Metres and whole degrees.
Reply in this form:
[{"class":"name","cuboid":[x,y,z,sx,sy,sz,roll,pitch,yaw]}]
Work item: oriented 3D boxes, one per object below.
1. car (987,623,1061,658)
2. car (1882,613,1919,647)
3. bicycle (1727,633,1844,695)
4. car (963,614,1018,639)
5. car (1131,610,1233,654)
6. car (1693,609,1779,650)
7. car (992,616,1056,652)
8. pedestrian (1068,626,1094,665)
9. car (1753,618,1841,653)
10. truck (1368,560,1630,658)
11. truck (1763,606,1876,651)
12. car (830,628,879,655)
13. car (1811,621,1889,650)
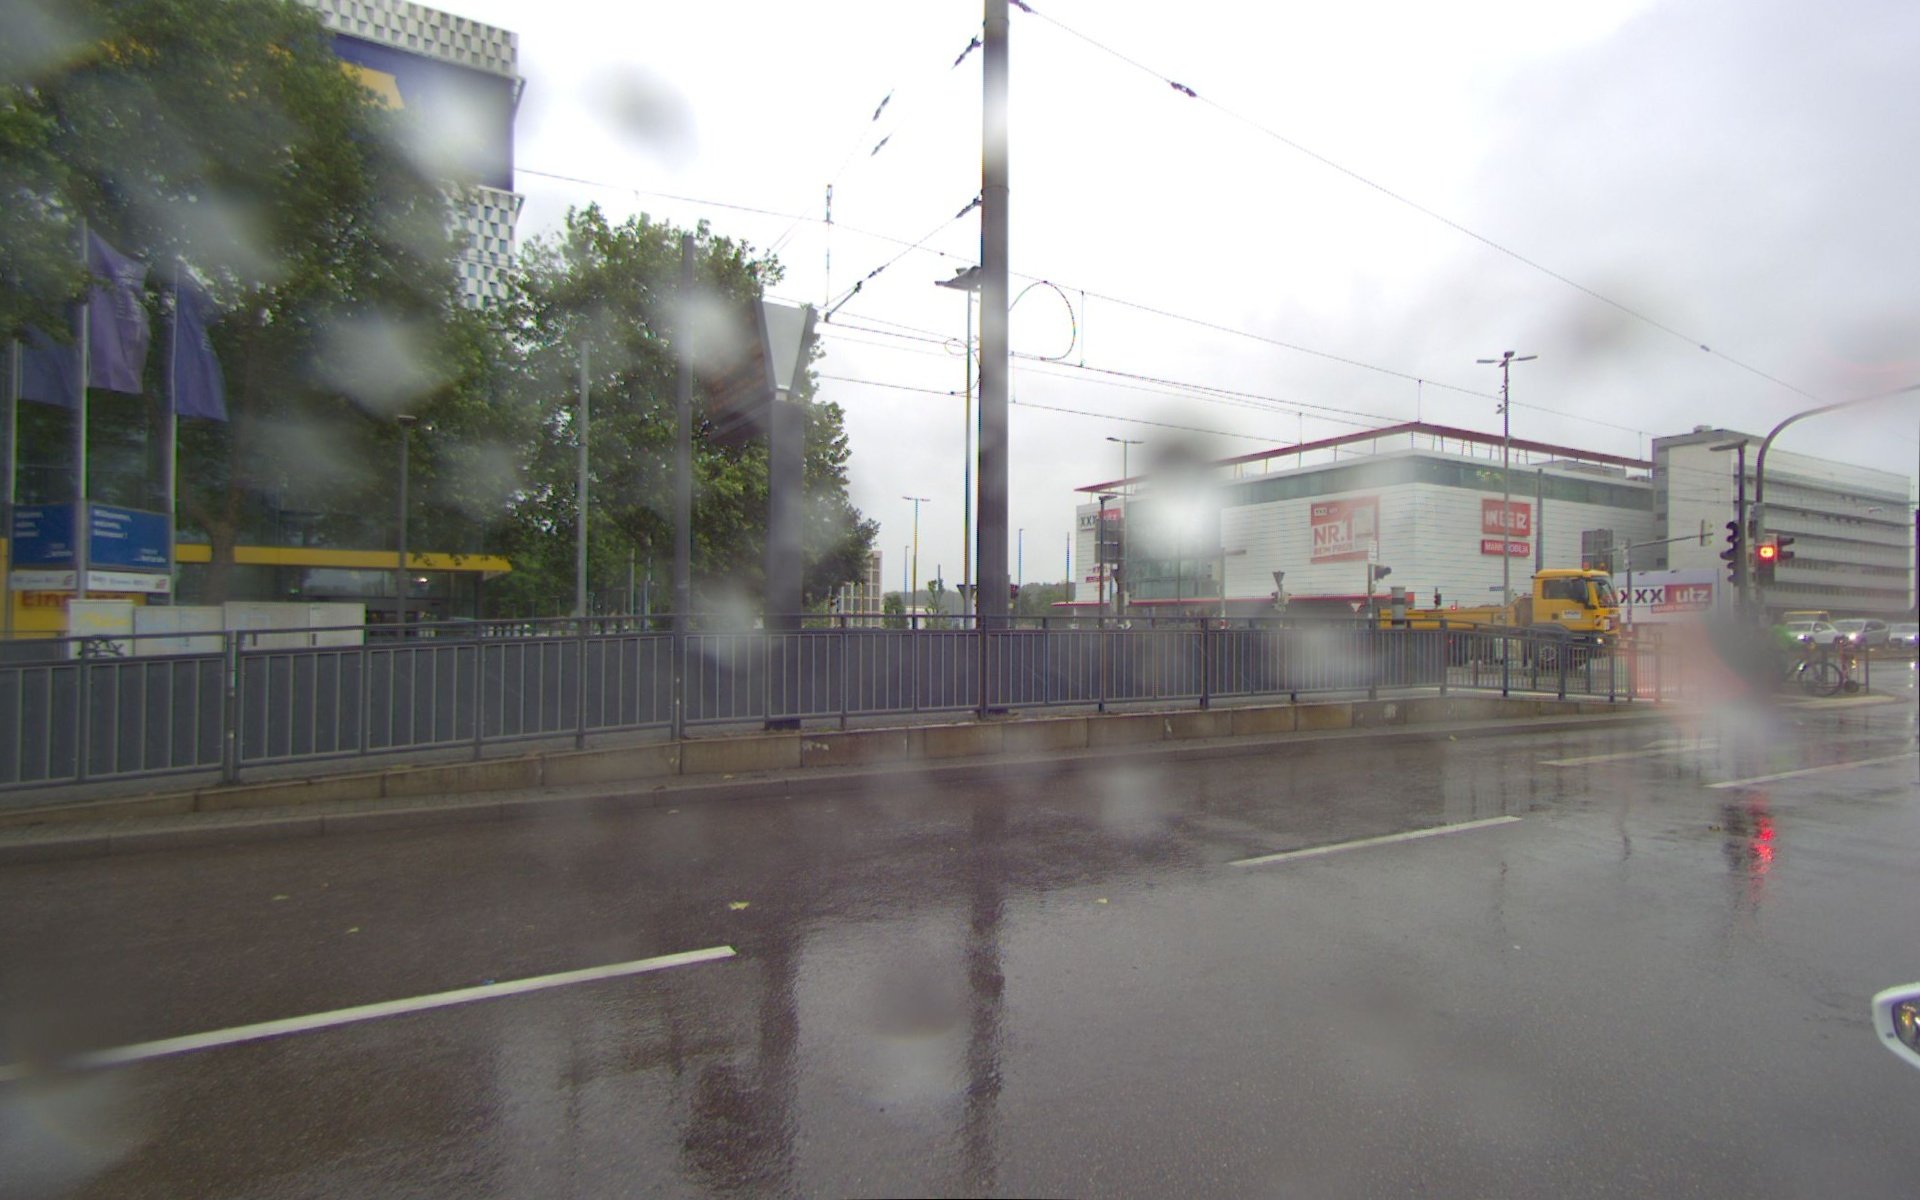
[{"class":"car","cuboid":[3.420,2.170,54.273,1.980,1.711,3.960,2,0,-35]},{"class":"car","cuboid":[51.376,1.644,53.603,3.947,1.722,1.886,2,0,-26]},{"class":"bicycle","cuboid":[16.750,1.283,20.423,0.409,1.048,1.742,2,3,-31]},{"class":"car","cuboid":[2.166,1.837,70.203,3.723,1.645,2.001,2,0,2]},{"class":"car","cuboid":[9.378,1.333,42.673,1.608,1.682,4.028,2,0,-42]},{"class":"car","cuboid":[40.398,1.532,52.290,3.947,2.040,1.987,2,0,-26]},{"class":"car","cuboid":[3.924,2.083,62.299,1.976,2.040,4.295,2,0,-29]},{"class":"pedestrian","cuboid":[4.896,1.842,40.709,0.863,1.557,0.560,2,0,-31]},{"class":"car","cuboid":[39.722,1.694,47.662,3.823,1.512,1.693,2,0,-25]},{"class":"truck","cuboid":[17.395,0.259,32.826,2.622,2.853,7.055,2,0,-42]},{"class":"truck","cuboid":[48.106,1.606,56.167,7.542,2.309,2.341,2,0,-30]},{"class":"car","cuboid":[-7.742,2.992,73.253,1.978,1.656,4.181,1,1,-31]},{"class":"car","cuboid":[44.823,1.794,50.588,3.780,1.354,1.582,2,0,-26]}]
